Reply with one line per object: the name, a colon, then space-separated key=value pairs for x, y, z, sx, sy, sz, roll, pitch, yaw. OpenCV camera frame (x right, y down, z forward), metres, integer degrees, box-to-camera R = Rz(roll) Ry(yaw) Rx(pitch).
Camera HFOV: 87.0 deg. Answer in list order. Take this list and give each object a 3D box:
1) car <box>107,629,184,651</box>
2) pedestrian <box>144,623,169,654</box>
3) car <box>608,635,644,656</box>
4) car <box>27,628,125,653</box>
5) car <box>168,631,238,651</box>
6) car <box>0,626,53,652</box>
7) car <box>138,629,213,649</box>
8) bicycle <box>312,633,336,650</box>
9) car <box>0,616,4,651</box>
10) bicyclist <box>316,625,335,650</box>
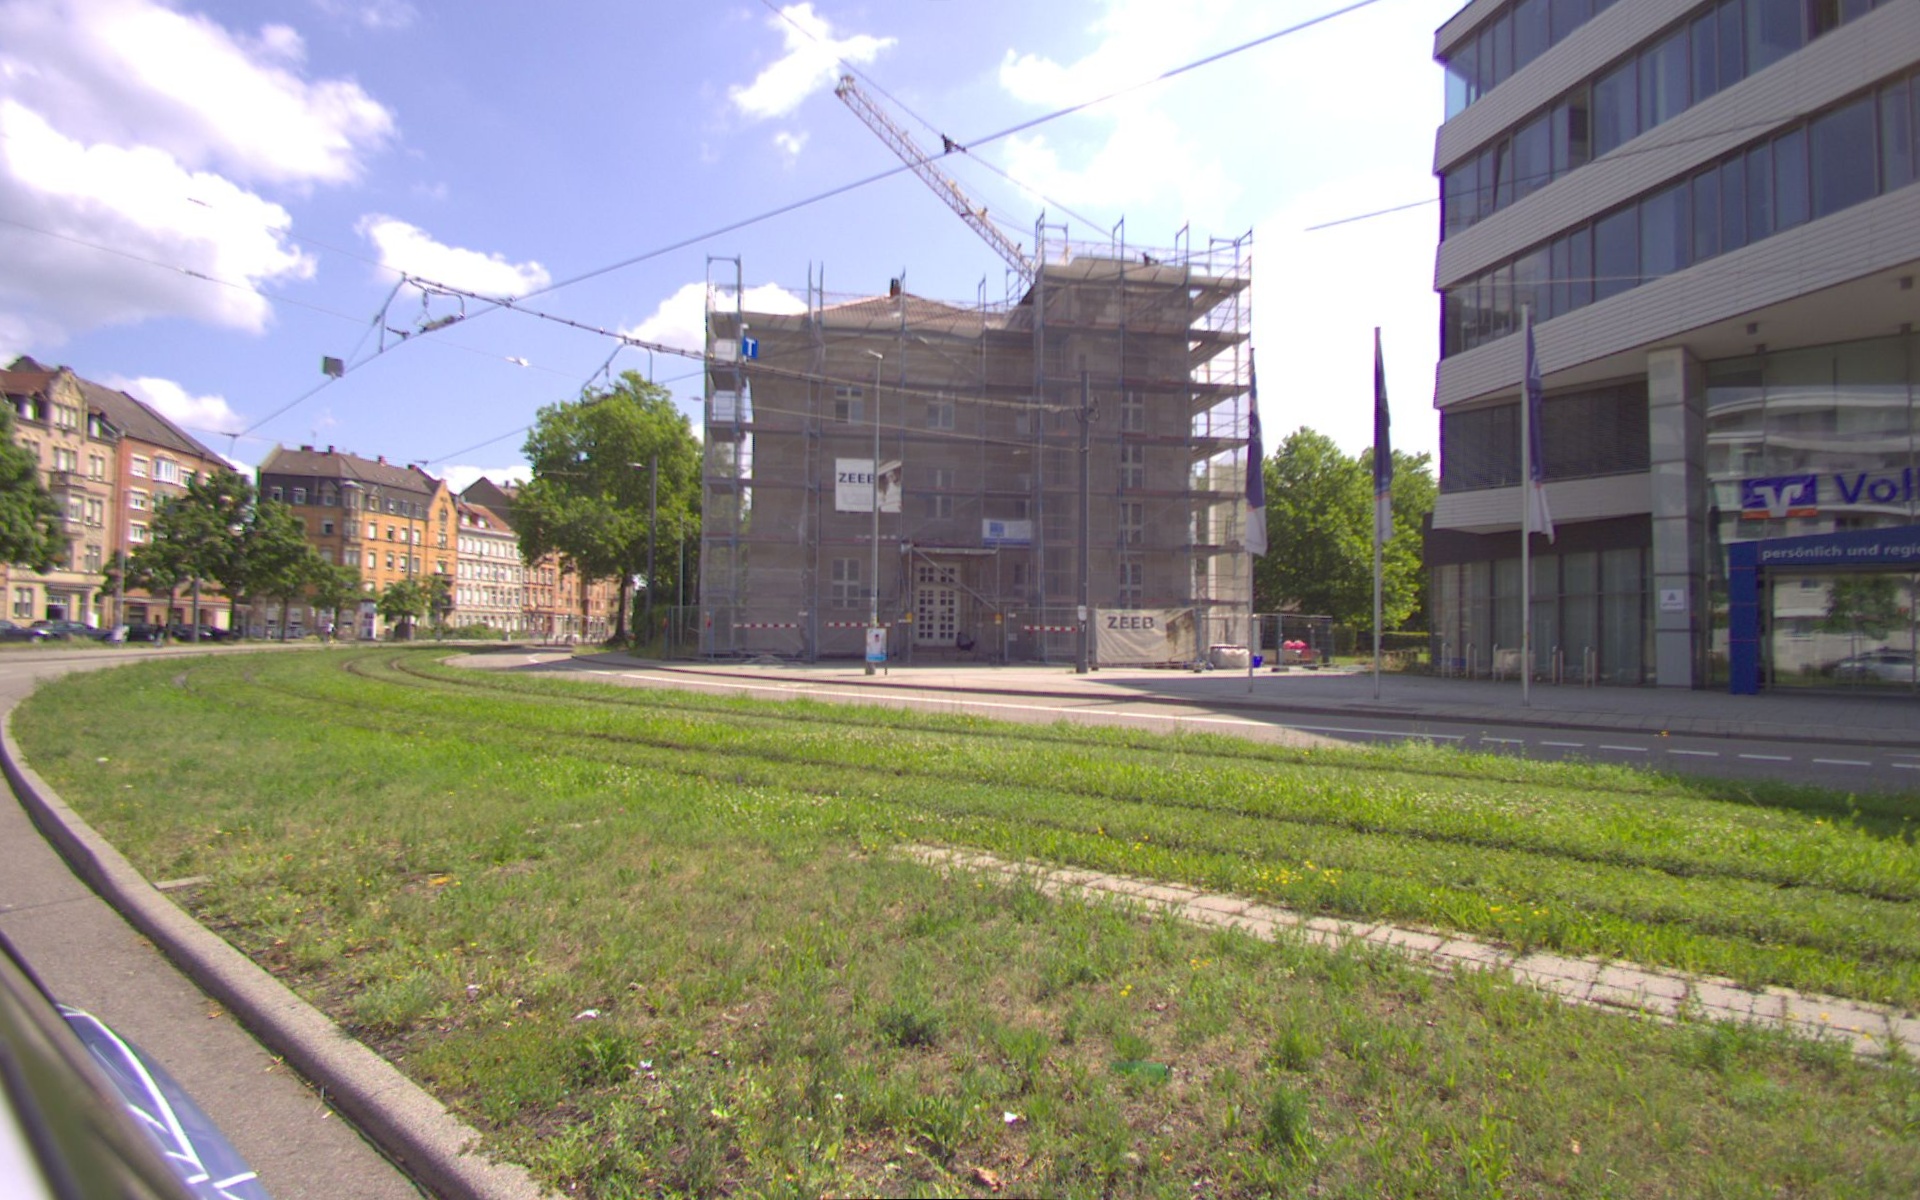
car: x=-54.209 y=2.634 z=67.473 sx=3.935 sy=1.391 sz=1.965 roll=1 pitch=-2 yaw=-38
pedestrian: x=-45.715 y=2.183 z=57.552 sx=0.691 sy=1.717 sz=1.047 roll=1 pitch=0 yaw=-12
car: x=-23.047 y=3.135 z=69.967 sx=1.900 sy=1.379 sz=4.328 roll=-1 pitch=-2 yaw=-12
car: x=-52.633 y=2.405 z=60.303 sx=1.852 sy=1.391 sz=4.208 roll=-2 pitch=-2 yaw=43
car: x=-55.186 y=2.979 z=73.822 sx=3.932 sy=1.364 sz=1.967 roll=1 pitch=-2 yaw=-33
car: x=-51.373 y=2.099 z=54.056 sx=1.852 sy=1.391 sz=4.208 roll=-2 pitch=-2 yaw=43
car: x=-54.565 y=2.703 z=70.438 sx=3.939 sy=1.391 sz=1.963 roll=1 pitch=-2 yaw=-43
bicycle: x=-48.534 y=3.164 z=77.229 sx=0.685 sy=1.251 sz=1.841 roll=6 pitch=-4 yaw=-6
car: x=-50.498 y=1.665 z=50.267 sx=1.852 sy=1.754 sz=4.303 roll=-2 pitch=-2 yaw=43
bicyclist: x=-48.520 y=2.877 z=77.339 sx=0.686 sy=1.838 sz=0.957 roll=6 pitch=-4 yaw=-6
